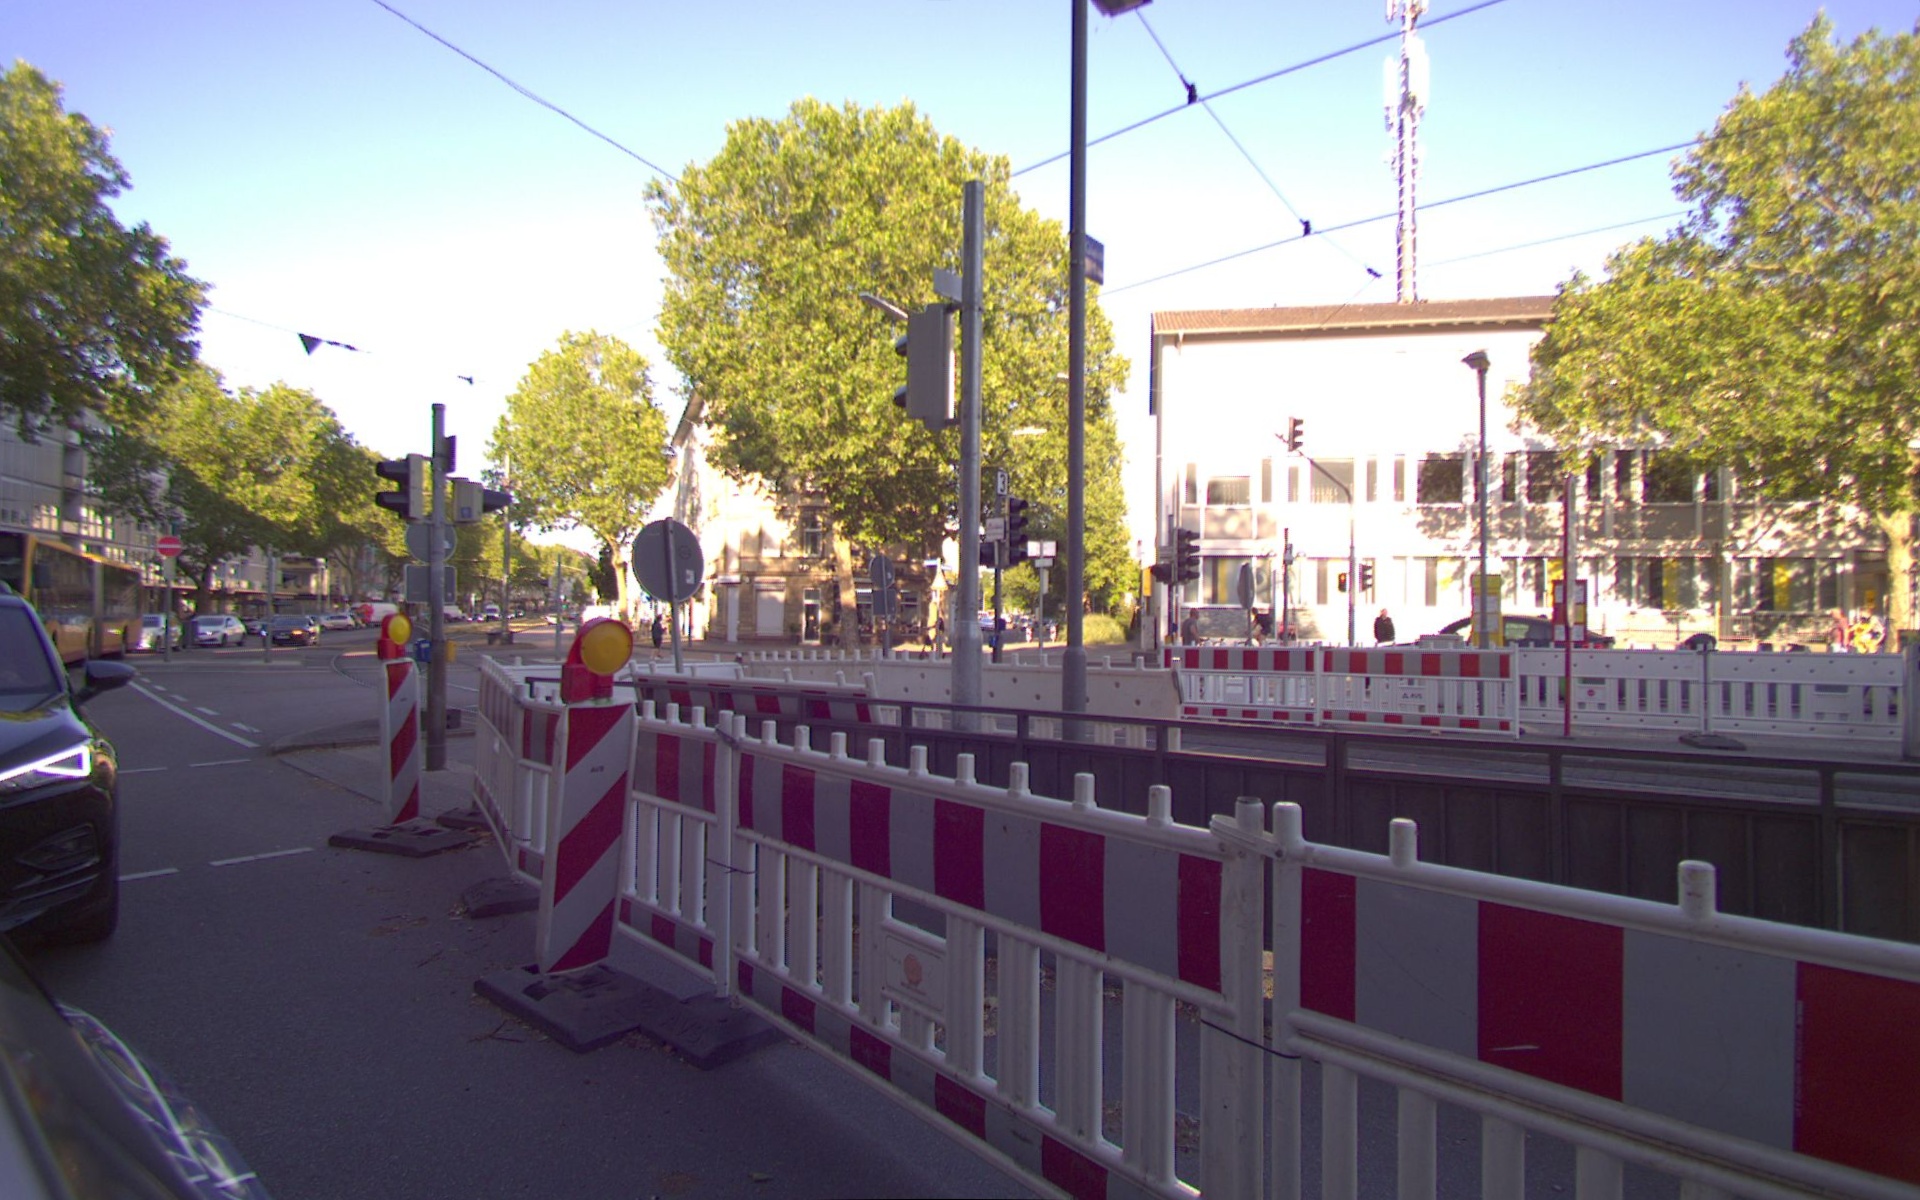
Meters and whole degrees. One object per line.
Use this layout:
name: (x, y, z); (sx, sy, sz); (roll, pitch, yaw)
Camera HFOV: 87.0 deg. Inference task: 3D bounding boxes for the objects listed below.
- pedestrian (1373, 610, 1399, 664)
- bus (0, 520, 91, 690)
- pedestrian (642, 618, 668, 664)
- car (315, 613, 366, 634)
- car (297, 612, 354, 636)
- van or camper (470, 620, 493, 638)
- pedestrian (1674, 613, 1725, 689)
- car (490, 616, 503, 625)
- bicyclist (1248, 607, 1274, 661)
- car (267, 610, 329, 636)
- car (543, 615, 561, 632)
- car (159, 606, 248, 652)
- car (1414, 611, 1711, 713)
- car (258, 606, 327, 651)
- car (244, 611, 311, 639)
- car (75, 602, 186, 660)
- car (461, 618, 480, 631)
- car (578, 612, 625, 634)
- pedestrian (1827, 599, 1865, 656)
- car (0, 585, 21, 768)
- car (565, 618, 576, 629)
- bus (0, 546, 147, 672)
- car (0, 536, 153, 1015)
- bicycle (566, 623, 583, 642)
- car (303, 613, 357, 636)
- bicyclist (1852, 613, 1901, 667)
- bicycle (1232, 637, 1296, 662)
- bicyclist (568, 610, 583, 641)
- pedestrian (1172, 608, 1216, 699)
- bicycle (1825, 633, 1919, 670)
pedestrian: (12.362, 1.067, 29.350); (0.649, 1.564, 0.563); (-1, -2, 28)
bus: (-20.849, 0.149, 21.686); (2.678, 3.130, 8.641); (1, -2, -36)
pedestrian: (-10.449, 1.406, 34.649); (0.594, 1.545, 0.746); (1, -2, -38)
car: (-60.102, 2.269, 98.251); (3.938, 2.029, 2.002); (1, -2, -42)
car: (-55.912, 2.119, 89.207); (3.938, 2.029, 2.002); (1, -2, -42)
van or camper: (-73.016, 4.380, 154.614); (2.385, 2.739, 6.151); (1, -1, -18)
pedestrian: (18.450, 1.264, 25.271); (0.923, 1.847, 0.693); (-1, -2, 28)
car: (-79.627, 3.554, 174.030); (1.675, 1.481, 3.776); (1, -2, -19)
bicyclist: (9.838, 1.097, 33.071); (0.759, 1.741, 0.669); (0, -2, 19)
car: (-53.769, 1.860, 82.283); (3.938, 2.029, 2.002); (1, -2, -42)
car: (-49.921, 2.836, 123.858); (1.965, 2.029, 4.013); (1, -1, -20)
car: (-34.747, 1.335, 46.614); (1.966, 2.029, 4.012); (1, -1, -17)
car: (11.114, 1.063, 18.830); (4.552, 1.674, 1.974); (-1, -2, 38)
car: (-31.466, 1.345, 47.819); (1.965, 2.029, 4.013); (1, -1, -22)
car: (-49.881, 1.852, 74.041); (3.932, 2.029, 2.006); (1, -2, -32)
car: (-30.627, 1.144, 37.507); (1.965, 2.029, 4.111); (1, -1, -21)
car: (-64.788, 3.201, 133.984); (1.809, 1.715, 4.143); (1, -2, -19)
car: (-34.270, 2.211, 96.828); (1.990, 2.029, 3.963); (0, -2, 27)
pedestrian: (23.058, 0.722, 26.354); (0.583, 1.466, 0.581); (-1, -2, 27)
car: (-10.778, 0.695, 9.850); (4.073, 1.656, 1.973); (-1, -2, 41)
car: (-68.241, 4.148, 177.269); (1.661, 1.866, 4.013); (1, -1, -20)
bus: (-25.788, 0.292, 28.983); (2.676, 3.130, 8.622); (1, -2, -31)
car: (-5.273, 0.643, 4.597); (3.998, 1.719, 1.818); (-1, -2, 41)
bicycle: (-25.731, 2.175, 67.579); (0.837, 1.202, 2.474); (1, -2, -25)
car: (-58.385, 2.278, 93.835); (3.938, 2.029, 2.002); (1, -2, -42)
bicyclist: (26.847, 1.168, 29.654); (0.836, 1.538, 0.574); (0, -1, 10)
bicycle: (9.908, 1.614, 33.020); (1.975, 0.788, 0.677); (0, -1, 20)
bicyclist: (-25.674, 1.719, 67.608); (0.841, 2.029, 0.987); (1, -2, -23)
pedestrian: (4.625, 1.047, 20.010); (0.545, 1.760, 0.693); (1, -2, -24)
bicycle: (26.821, 1.493, 29.641); (2.166, 1.039, 0.676); (0, -2, 11)
